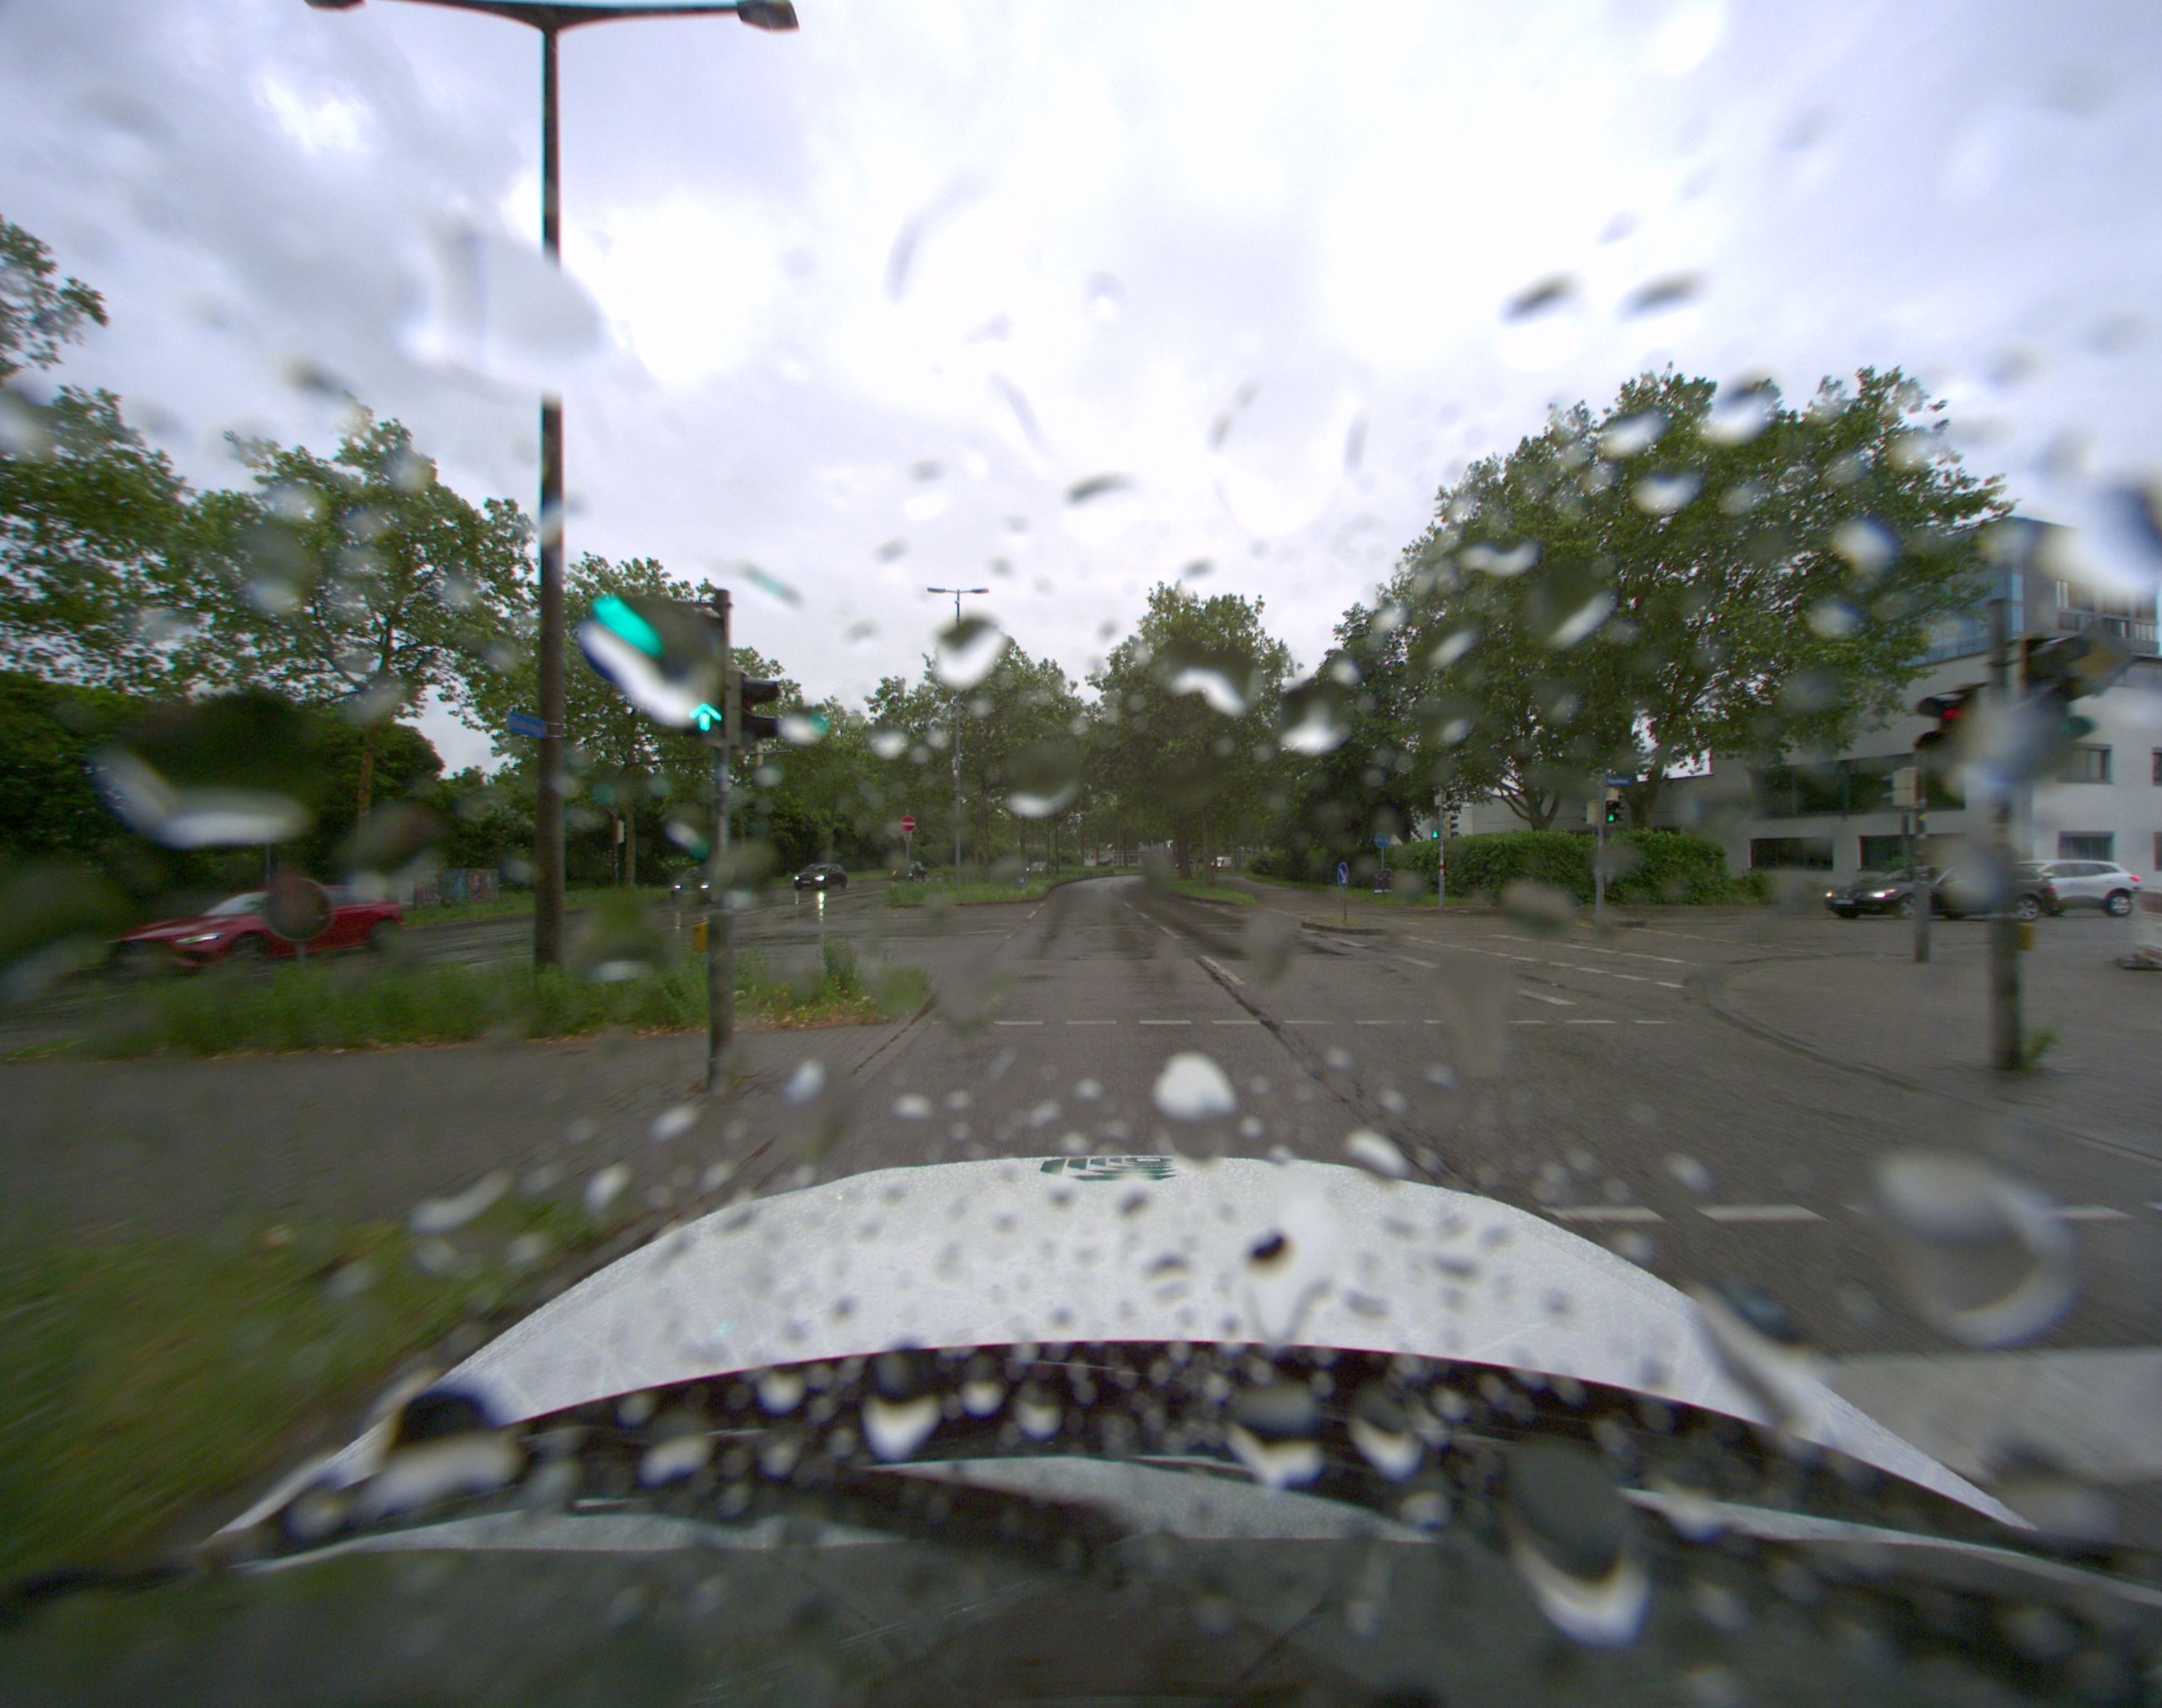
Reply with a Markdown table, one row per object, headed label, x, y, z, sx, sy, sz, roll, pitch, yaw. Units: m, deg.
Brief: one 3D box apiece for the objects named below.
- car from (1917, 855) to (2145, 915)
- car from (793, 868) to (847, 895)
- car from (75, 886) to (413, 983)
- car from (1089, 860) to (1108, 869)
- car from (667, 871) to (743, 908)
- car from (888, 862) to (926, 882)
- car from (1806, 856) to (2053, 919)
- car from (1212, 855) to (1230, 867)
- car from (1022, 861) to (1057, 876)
| label | x | y | z | sx | sy | sz | roll | pitch | yaw |
| --- | --- | --- | --- | --- | --- | --- | --- | --- | --- |
| car | 27.153 | 0.866 | 23.385 | 4.276 | 1.590 | 1.889 | -1 | -1 | 1 |
| car | -14.594 | 1.496 | 45.786 | 1.581 | 1.373 | 4.262 | -1 | -1 | 1 |
| car | -15.355 | 1.383 | 15.392 | 1.737 | 1.408 | 4.445 | -1 | -1 | 1 |
| car | 3.947 | 2.299 | 185.030 | 3.984 | 2.014 | 1.994 | 0 | -2 | -8 |
| car | -15.278 | 1.426 | 33.295 | 1.583 | 1.373 | 3.332 | -1 | -1 | -1 |
| car | -12.937 | 1.305 | 60.705 | 1.580 | 1.373 | 4.266 | -1 | -1 | 4 |
| car | 21.785 | 0.857 | 21.048 | 4.361 | 1.483 | 1.853 | -1 | -2 | 1 |
| car | 27.552 | 1.295 | 159.806 | 2.262 | 2.271 | 5.999 | -1 | -1 | 22 |
| car | -4.258 | 1.452 | 83.603 | 1.988 | 1.452 | 5.013 | -1 | -1 | 17 |
